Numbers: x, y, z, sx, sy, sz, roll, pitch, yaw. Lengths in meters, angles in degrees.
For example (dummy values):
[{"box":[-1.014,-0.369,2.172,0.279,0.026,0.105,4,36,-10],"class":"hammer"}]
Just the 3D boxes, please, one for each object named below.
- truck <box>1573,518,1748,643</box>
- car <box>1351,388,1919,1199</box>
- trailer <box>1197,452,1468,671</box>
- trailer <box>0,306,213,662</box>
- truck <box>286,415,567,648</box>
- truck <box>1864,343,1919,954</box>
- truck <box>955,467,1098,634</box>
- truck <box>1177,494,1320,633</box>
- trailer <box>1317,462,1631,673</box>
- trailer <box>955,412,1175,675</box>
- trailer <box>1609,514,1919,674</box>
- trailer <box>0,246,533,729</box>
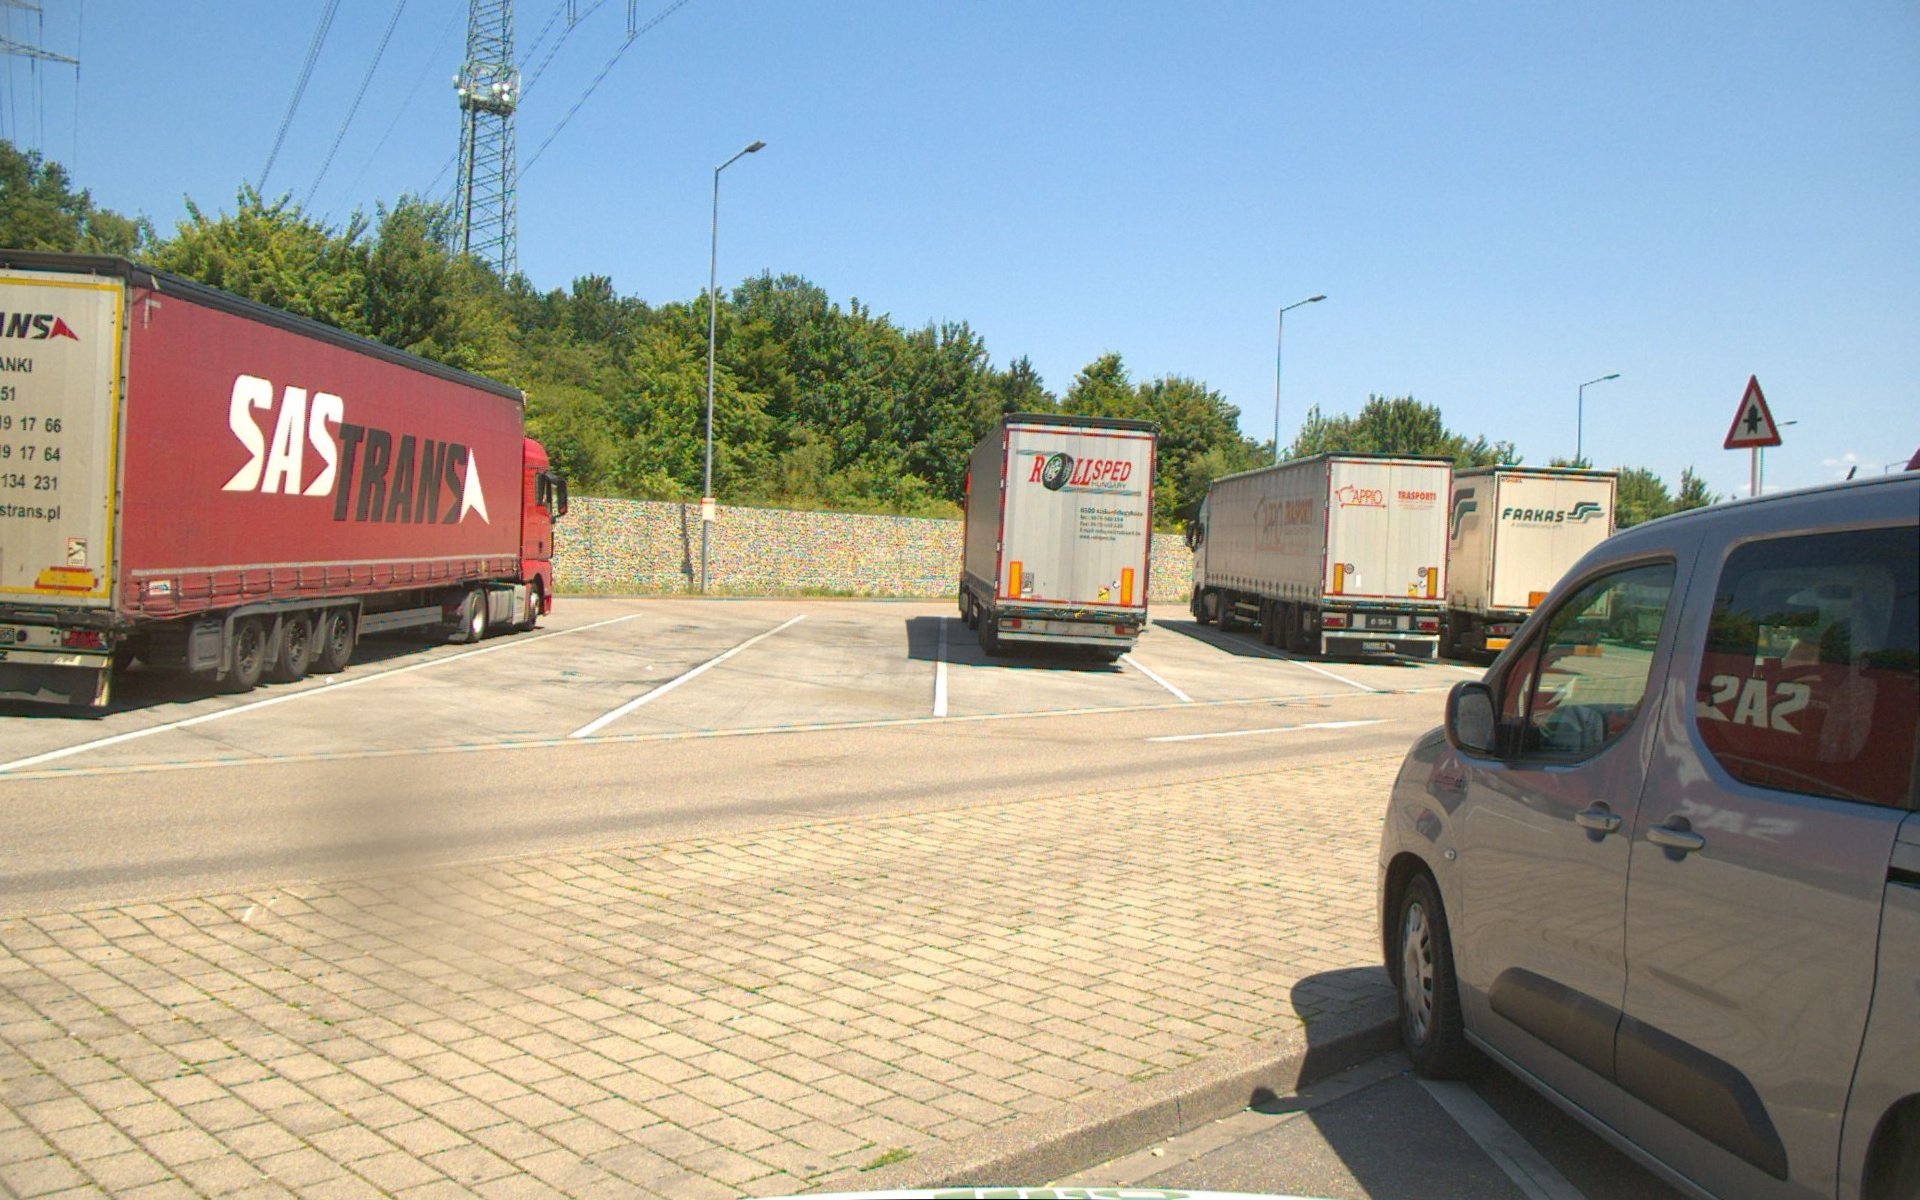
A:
[{"box":[21.769,-0.689,51.750,2.746,3.582,5.900,3,2,-1],"class":"truck"},{"box":[2.439,0.605,3.871,1.832,1.895,4.174,3,1,-2],"class":"car"},{"box":[8.173,-1.028,38.865,2.754,4.058,14.395,3,2,-1],"class":"trailer"},{"box":[-12.551,-1.341,17.729,2.739,4.155,14.131,3,2,-1],"class":"trailer"},{"box":[-8.789,-1.154,28.022,2.793,3.385,5.900,3,2,-1],"class":"truck"},{"box":[5.001,0.203,4.994,1.937,2.668,5.307,1,0,4],"class":"truck"},{"box":[1.504,-1.240,40.547,3.041,3.628,5.900,3,2,-1],"class":"truck"},{"box":[8.056,-1.091,46.965,2.804,3.582,5.900,3,2,-1],"class":"truck"},{"box":[11.736,-0.932,39.970,2.754,4.058,14.395,3,2,-1],"class":"trailer"},{"box":[1.660,-1.194,33.657,3.070,4.058,14.393,3,2,-1],"class":"trailer"},{"box":[21.846,-0.384,44.520,2.754,3.568,14.395,3,2,-1],"class":"trailer"},{"box":[-8.724,-1.294,21.451,2.735,4.155,14.131,3,2,-1],"class":"trailer"}]
